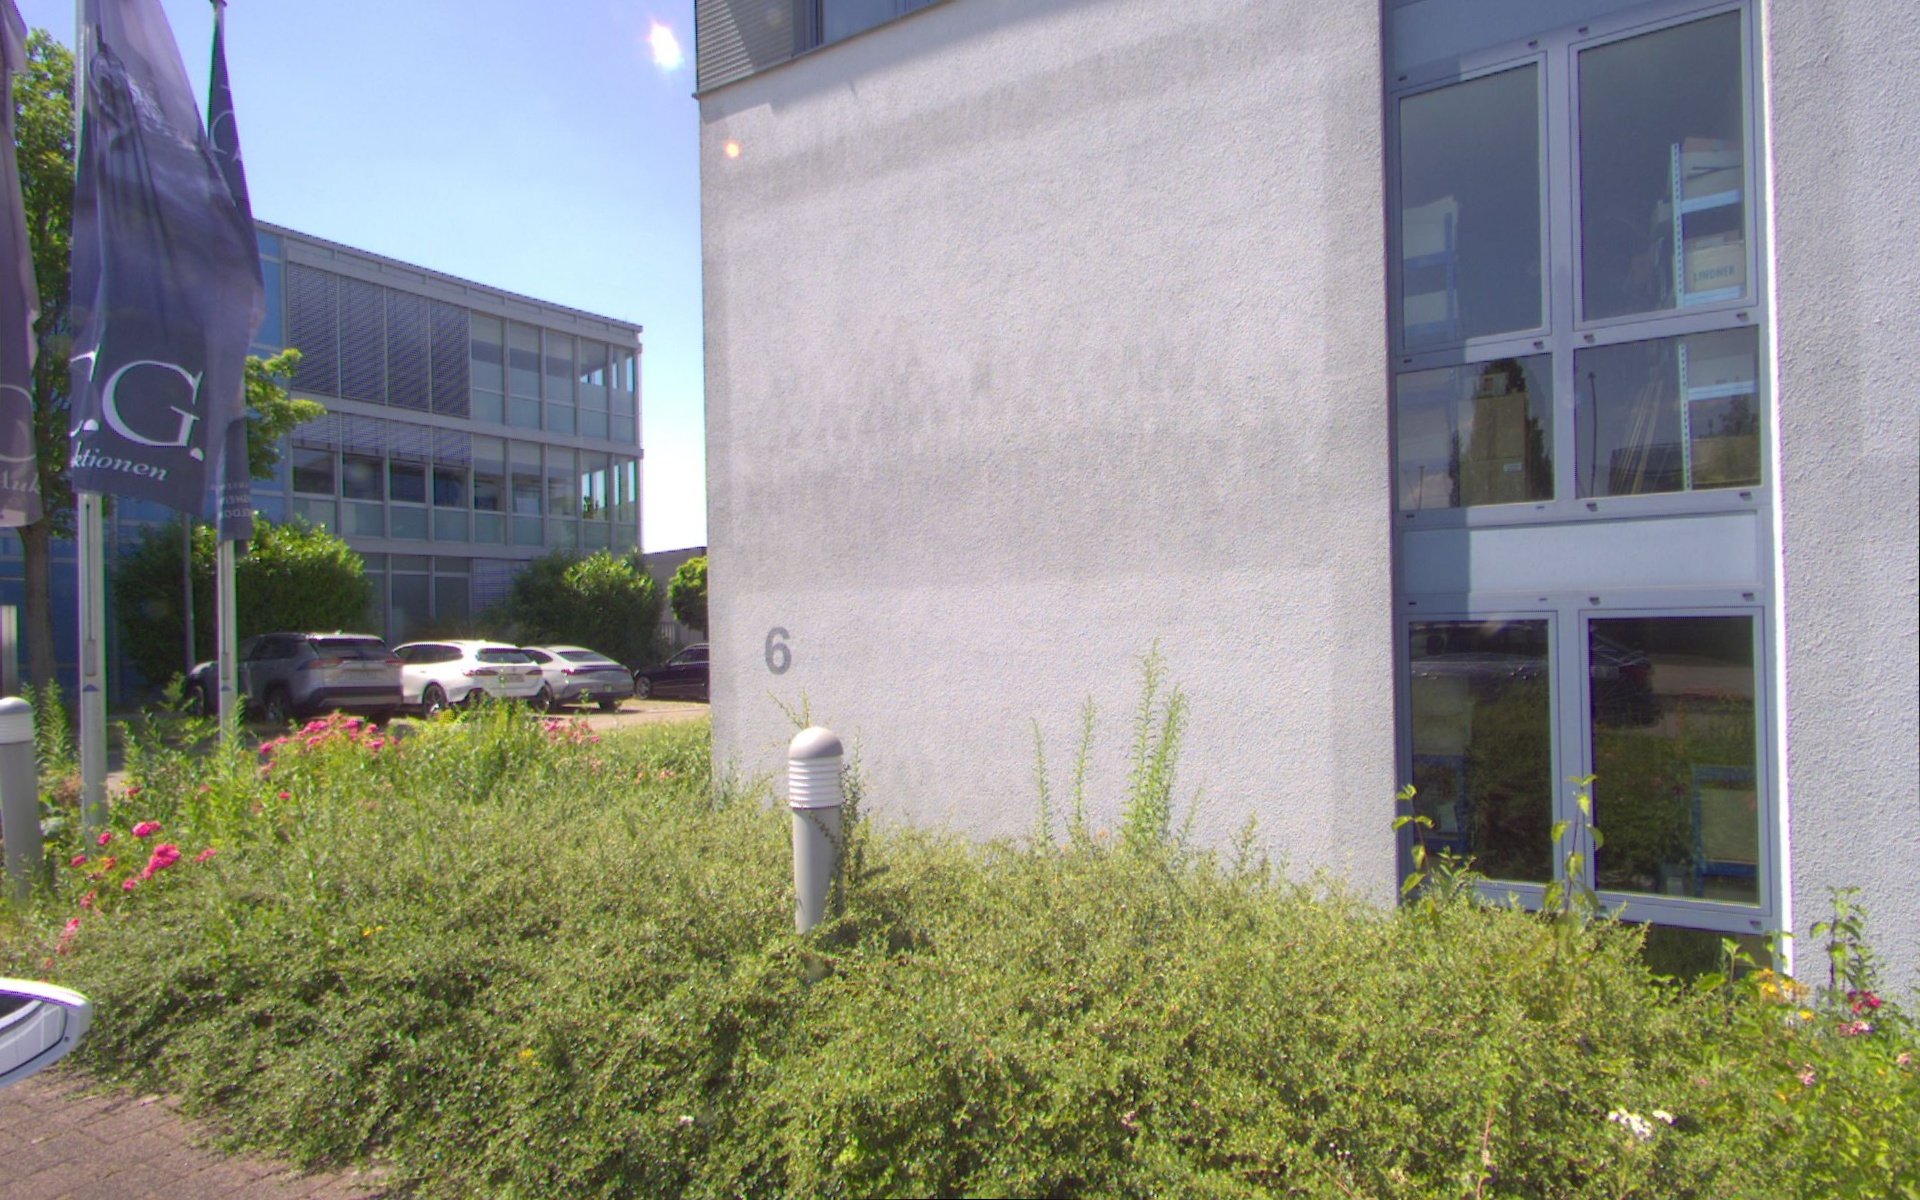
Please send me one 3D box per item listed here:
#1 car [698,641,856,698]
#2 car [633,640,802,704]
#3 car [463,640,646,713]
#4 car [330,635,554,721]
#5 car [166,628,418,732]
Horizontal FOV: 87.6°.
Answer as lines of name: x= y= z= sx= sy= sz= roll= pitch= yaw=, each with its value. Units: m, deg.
car: x=-5.202 y=1.917 z=28.284 sx=4.487 sy=1.465 sz=1.732 roll=-1 pitch=-3 yaw=35
car: x=-6.355 y=1.818 z=26.011 sx=4.487 sy=1.465 sz=1.732 roll=-1 pitch=-3 yaw=35
car: x=-9.133 y=1.653 z=22.420 sx=4.281 sy=1.447 sz=1.732 roll=-1 pitch=-3 yaw=35
car: x=-10.379 y=1.506 z=20.030 sx=4.269 sy=1.510 sz=1.737 roll=0 pitch=-2 yaw=25
car: x=-11.989 y=1.342 z=17.959 sx=4.269 sy=1.640 sz=1.820 roll=0 pitch=-1 yaw=25
